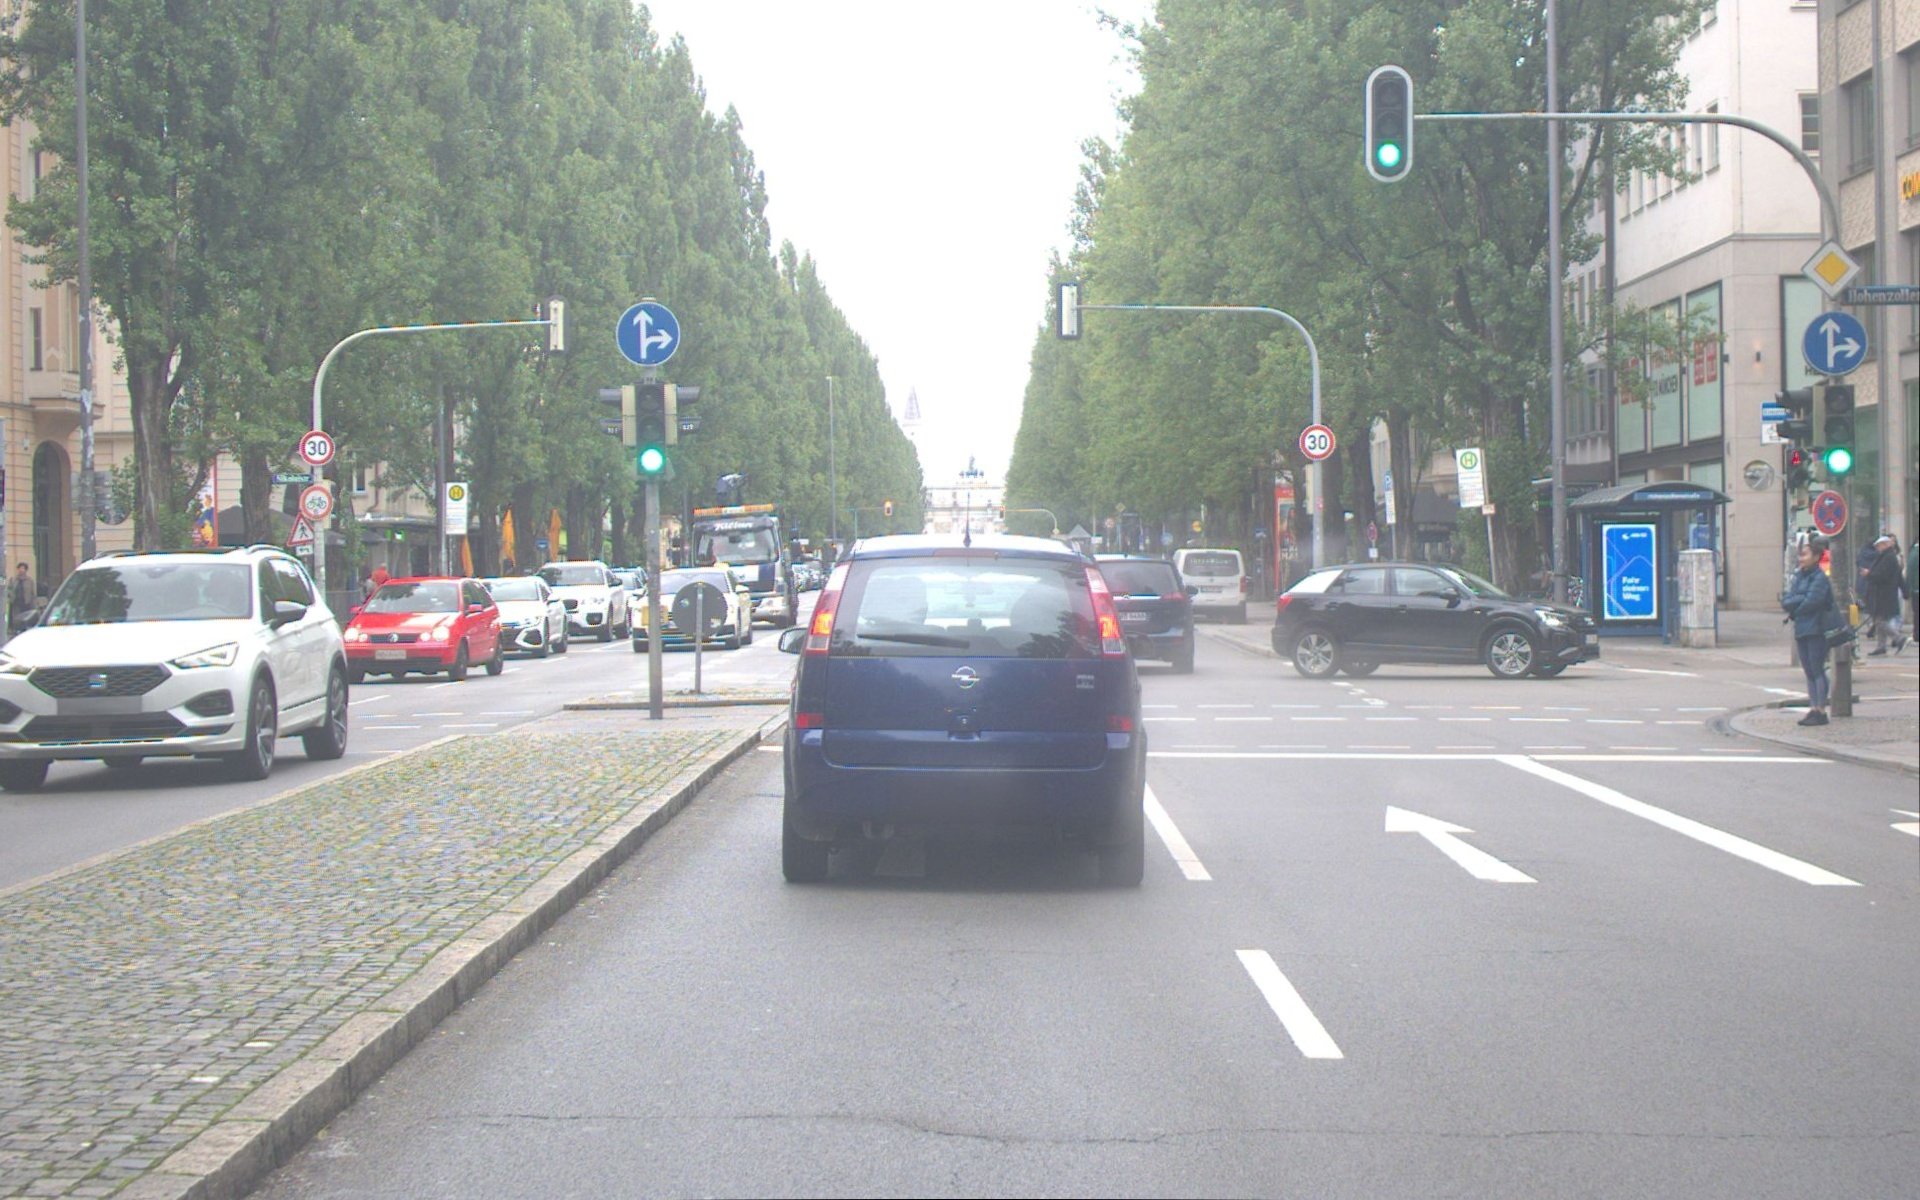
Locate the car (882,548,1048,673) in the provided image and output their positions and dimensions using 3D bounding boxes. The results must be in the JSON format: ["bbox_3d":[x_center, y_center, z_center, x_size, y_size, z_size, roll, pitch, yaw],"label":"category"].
[{"bbox_3d":[0.035,0.100,43.649,1.993,1.492,4.000,-1,1,-1],"label":"car"}]

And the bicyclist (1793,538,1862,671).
[{"bbox_3d":[10.447,0.048,41.413,0.621,1.583,0.753,-1,1,0],"label":"bicyclist"}]

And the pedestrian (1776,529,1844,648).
[{"bbox_3d":[13.107,-0.176,53.038,0.818,1.811,0.891,0,1,-1],"label":"pedestrian"}]

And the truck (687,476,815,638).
[{"bbox_3d":[-4.938,-1.049,82.467,2.463,3.657,8.440,-1,1,0],"label":"truck"}]

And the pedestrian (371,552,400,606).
[{"bbox_3d":[-17.881,-0.655,106.991,0.734,1.667,0.952,-1,1,0],"label":"pedestrian"}]

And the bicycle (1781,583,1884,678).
[{"bbox_3d":[10.455,0.349,41.274,0.626,1.083,2.264,-1,1,-1],"label":"bicycle"}]

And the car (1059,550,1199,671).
[{"bbox_3d":[2.305,0.107,47.640,1.706,1.568,4.000,-1,1,0],"label":"car"}]

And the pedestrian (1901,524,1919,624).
[{"bbox_3d":[17.001,-0.464,60.428,0.750,1.752,0.711,0,1,2],"label":"pedestrian"}]

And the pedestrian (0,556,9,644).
[{"bbox_3d":[-17.533,0.002,61.476,0.750,1.562,0.989,-1,1,0],"label":"pedestrian"}]

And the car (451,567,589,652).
[{"bbox_3d":[-7.782,0.136,61.115,1.823,1.403,4.632,-1,1,0],"label":"car"}]

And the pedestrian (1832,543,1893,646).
[{"bbox_3d":[14.899,-0.097,56.765,0.750,1.671,0.963,-1,1,2],"label":"pedestrian"}]

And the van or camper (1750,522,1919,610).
[{"bbox_3d":[19.595,-0.744,75.481,4.105,1.860,1.898,1,0,4],"label":"van or camper"}]

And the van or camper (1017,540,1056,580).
[{"bbox_3d":[5.003,-2.632,225.124,2.477,2.572,5.844,-1,1,1],"label":"van or camper"}]

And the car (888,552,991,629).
[{"bbox_3d":[-0.429,-0.216,69.361,1.993,1.492,4.000,-1,1,-1],"label":"car"}]

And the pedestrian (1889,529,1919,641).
[{"bbox_3d":[15.157,-0.234,54.219,0.750,1.752,0.859,-1,-1,2],"label":"pedestrian"}]

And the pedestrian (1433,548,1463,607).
[{"bbox_3d":[15.476,-0.721,109.050,0.826,1.834,1.099,-1,1,3],"label":"pedestrian"}]

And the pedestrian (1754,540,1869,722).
[{"bbox_3d":[7.666,0.266,30.984,0.765,1.604,0.864,-1,1,-4],"label":"pedestrian"}]

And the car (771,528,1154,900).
[{"bbox_3d":[-0.012,0.474,17.174,1.681,1.635,4.000,0,1,-1],"label":"car"}]

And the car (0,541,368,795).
[{"bbox_3d":[-5.700,0.418,25.084,1.843,1.630,4.575,-2,1,1],"label":"car"}]

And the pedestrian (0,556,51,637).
[{"bbox_3d":[-18.796,-0.075,69.102,0.778,1.613,0.934,-1,1,0],"label":"pedestrian"}]

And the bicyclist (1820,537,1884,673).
[{"bbox_3d":[10.461,0.056,40.336,0.621,1.583,0.391,-1,1,0],"label":"bicyclist"}]

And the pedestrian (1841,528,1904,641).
[{"bbox_3d":[14.398,-0.244,54.258,0.750,1.752,0.859,-1,-1,2],"label":"pedestrian"}]

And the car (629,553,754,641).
[{"bbox_3d":[-4.856,-0.082,62.797,1.843,1.496,4.986,-1,1,0],"label":"car"}]

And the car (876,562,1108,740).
[{"bbox_3d":[0.257,0.422,31.810,1.993,1.492,4.000,-1,1,-1],"label":"car"}]

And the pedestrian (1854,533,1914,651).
[{"bbox_3d":[13.806,-0.122,51.378,0.708,1.752,0.752,-1,1,2],"label":"pedestrian"}]

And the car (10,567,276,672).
[{"bbox_3d":[-12.136,0.265,51.047,3.690,1.470,1.773,-1,1,-18],"label":"car"}]

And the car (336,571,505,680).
[{"bbox_3d":[-7.575,0.336,48.594,1.736,1.432,3.824,-1,1,0],"label":"car"}]

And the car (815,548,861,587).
[{"bbox_3d":[-5.503,-1.484,155.779,1.913,1.675,4.586,-1,1,0],"label":"car"}]

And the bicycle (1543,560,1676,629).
[{"bbox_3d":[12.004,-0.104,63.555,2.343,1.248,0.633,0,1,0],"label":"bicycle"}]

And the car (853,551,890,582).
[{"bbox_3d":[-4.934,-1.866,192.196,1.935,1.618,4.336,-2,1,0],"label":"car"}]

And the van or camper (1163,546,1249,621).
[{"bbox_3d":[6.300,-0.454,88.613,1.868,1.876,4.903,0,1,0],"label":"van or camper"}]

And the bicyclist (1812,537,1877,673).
[{"bbox_3d":[10.453,0.053,40.651,0.621,1.583,0.481,-1,1,0],"label":"bicyclist"}]

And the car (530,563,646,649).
[{"bbox_3d":[-7.800,0.098,72.463,1.837,1.710,4.636,-1,1,1],"label":"car"}]

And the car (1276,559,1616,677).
[{"bbox_3d":[6.272,0.214,44.421,3.993,1.456,1.757,0,1,28],"label":"car"}]
